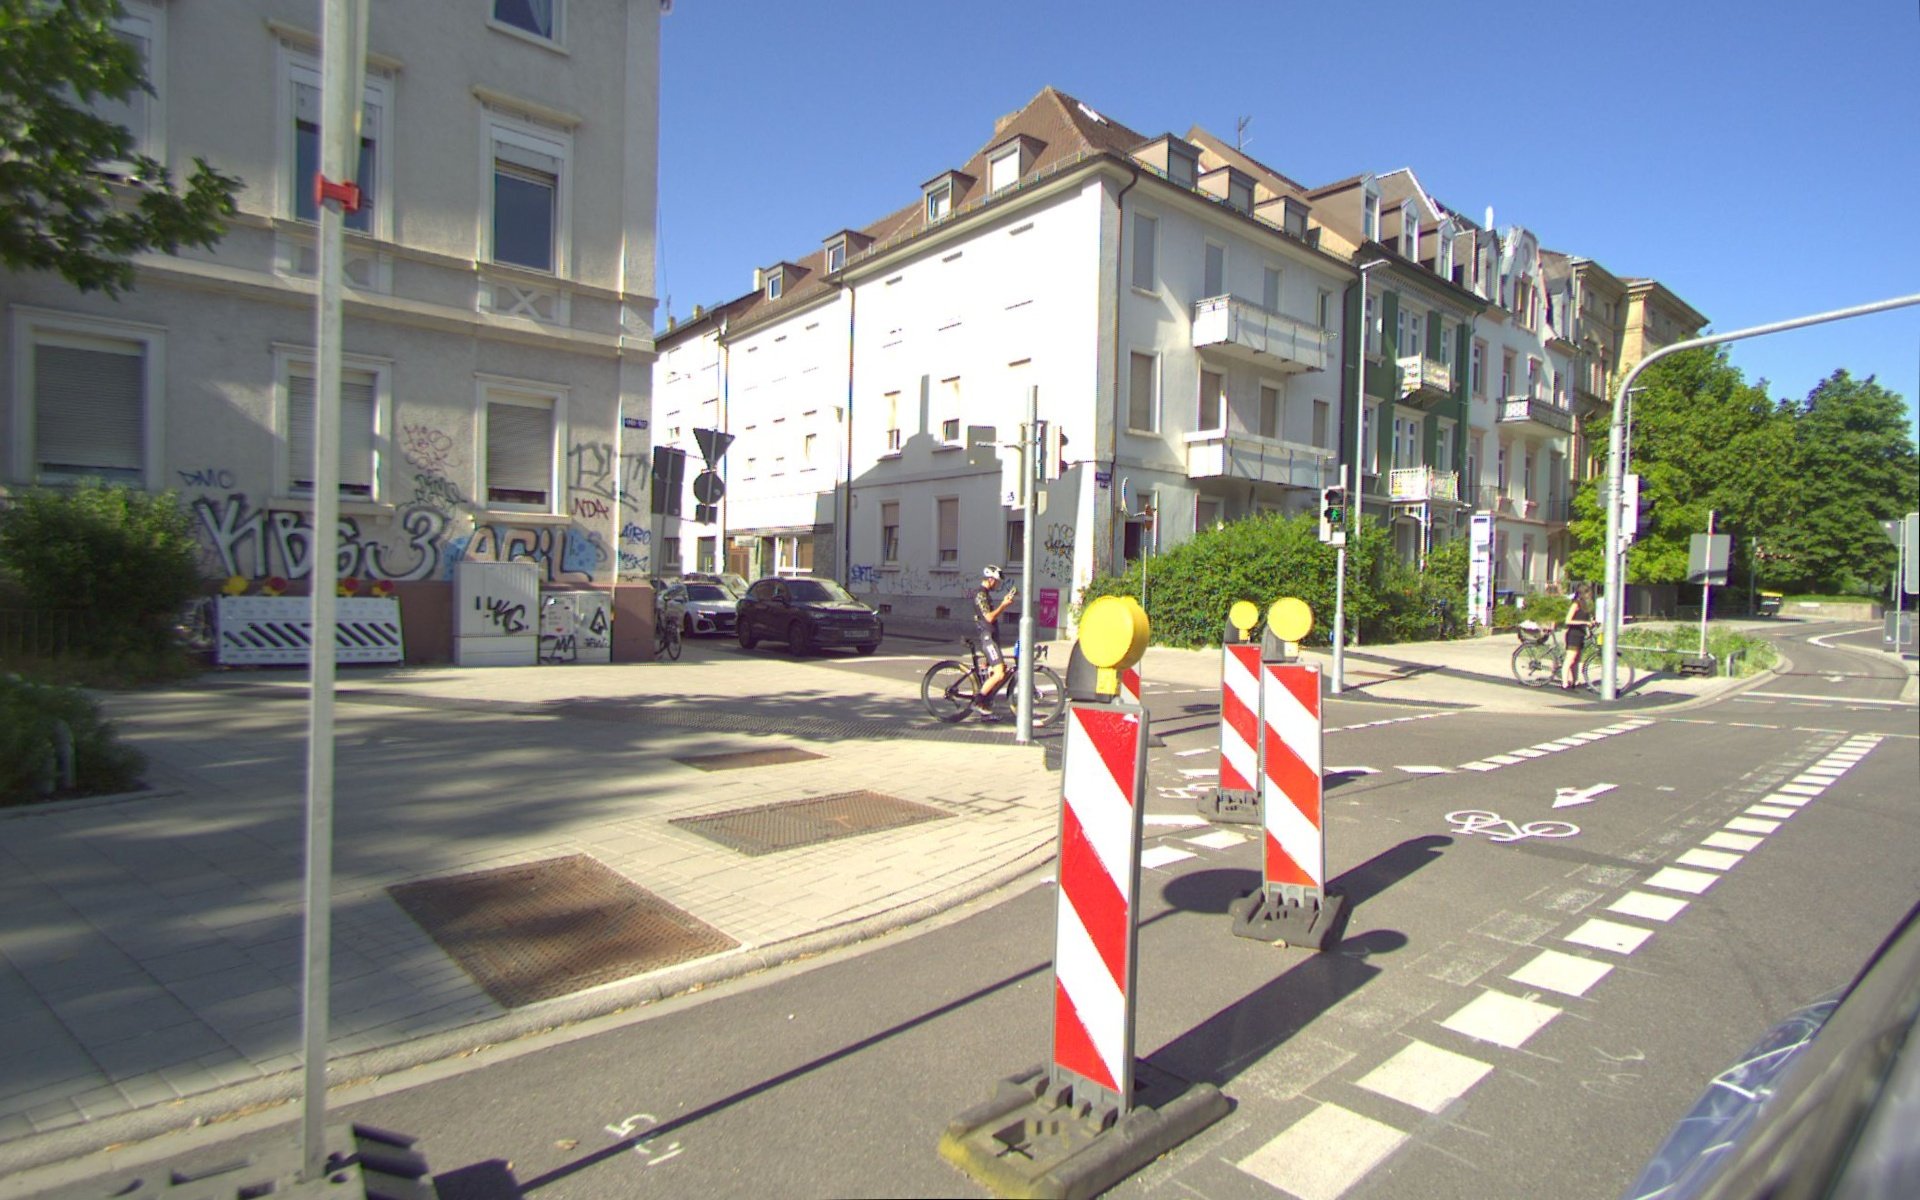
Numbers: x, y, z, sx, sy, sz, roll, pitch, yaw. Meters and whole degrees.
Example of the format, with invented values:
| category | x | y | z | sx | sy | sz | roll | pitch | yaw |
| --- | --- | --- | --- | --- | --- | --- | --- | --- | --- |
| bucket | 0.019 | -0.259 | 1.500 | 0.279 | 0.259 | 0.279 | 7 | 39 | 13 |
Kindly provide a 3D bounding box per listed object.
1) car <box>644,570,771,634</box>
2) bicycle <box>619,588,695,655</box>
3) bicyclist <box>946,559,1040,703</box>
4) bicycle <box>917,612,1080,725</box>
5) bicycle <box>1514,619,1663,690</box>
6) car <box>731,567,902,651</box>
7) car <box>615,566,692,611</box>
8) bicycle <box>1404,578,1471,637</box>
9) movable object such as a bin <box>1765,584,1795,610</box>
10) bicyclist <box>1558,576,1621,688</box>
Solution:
| category | x | y | z | sx | sy | sz | roll | pitch | yaw |
| --- | --- | --- | --- | --- | --- | --- | --- | --- | --- |
| car | -6.916 | 0.010 | 27.424 | 1.962 | 1.584 | 4.125 | 0 | 1 | -35 |
| bicycle | -5.367 | 0.346 | 17.842 | 0.569 | 1.093 | 2.001 | 0 | 1 | -39 |
| bicyclist | 0.375 | 0.321 | 11.207 | 0.859 | 1.518 | 0.722 | 1 | 1 | 17 |
| bicycle | 0.434 | 0.721 | 11.169 | 1.664 | 1.111 | 0.687 | 2 | 1 | 17 |
| bicycle | 10.091 | 0.845 | 16.312 | 0.594 | 1.038 | 1.965 | 1 | 0 | -41 |
| car | -3.238 | 0.129 | 22.123 | 1.948 | 1.639 | 4.263 | 0 | 1 | -36 |
| car | -12.542 | -0.507 | 41.273 | 1.961 | 1.735 | 4.002 | 0 | 1 | -33 |
| bicycle | 12.419 | 0.189 | 26.287 | 2.449 | 1.462 | 0.709 | 1 | -1 | -43 |
| movable object such as a bin | 46.707 | -0.154 | 57.678 | 0.964 | 1.415 | 1.276 | 4 | 2 | 26 |
| bicyclist | 10.094 | 0.491 | 16.232 | 0.843 | 1.730 | 0.604 | 1 | 1 | -41 |
